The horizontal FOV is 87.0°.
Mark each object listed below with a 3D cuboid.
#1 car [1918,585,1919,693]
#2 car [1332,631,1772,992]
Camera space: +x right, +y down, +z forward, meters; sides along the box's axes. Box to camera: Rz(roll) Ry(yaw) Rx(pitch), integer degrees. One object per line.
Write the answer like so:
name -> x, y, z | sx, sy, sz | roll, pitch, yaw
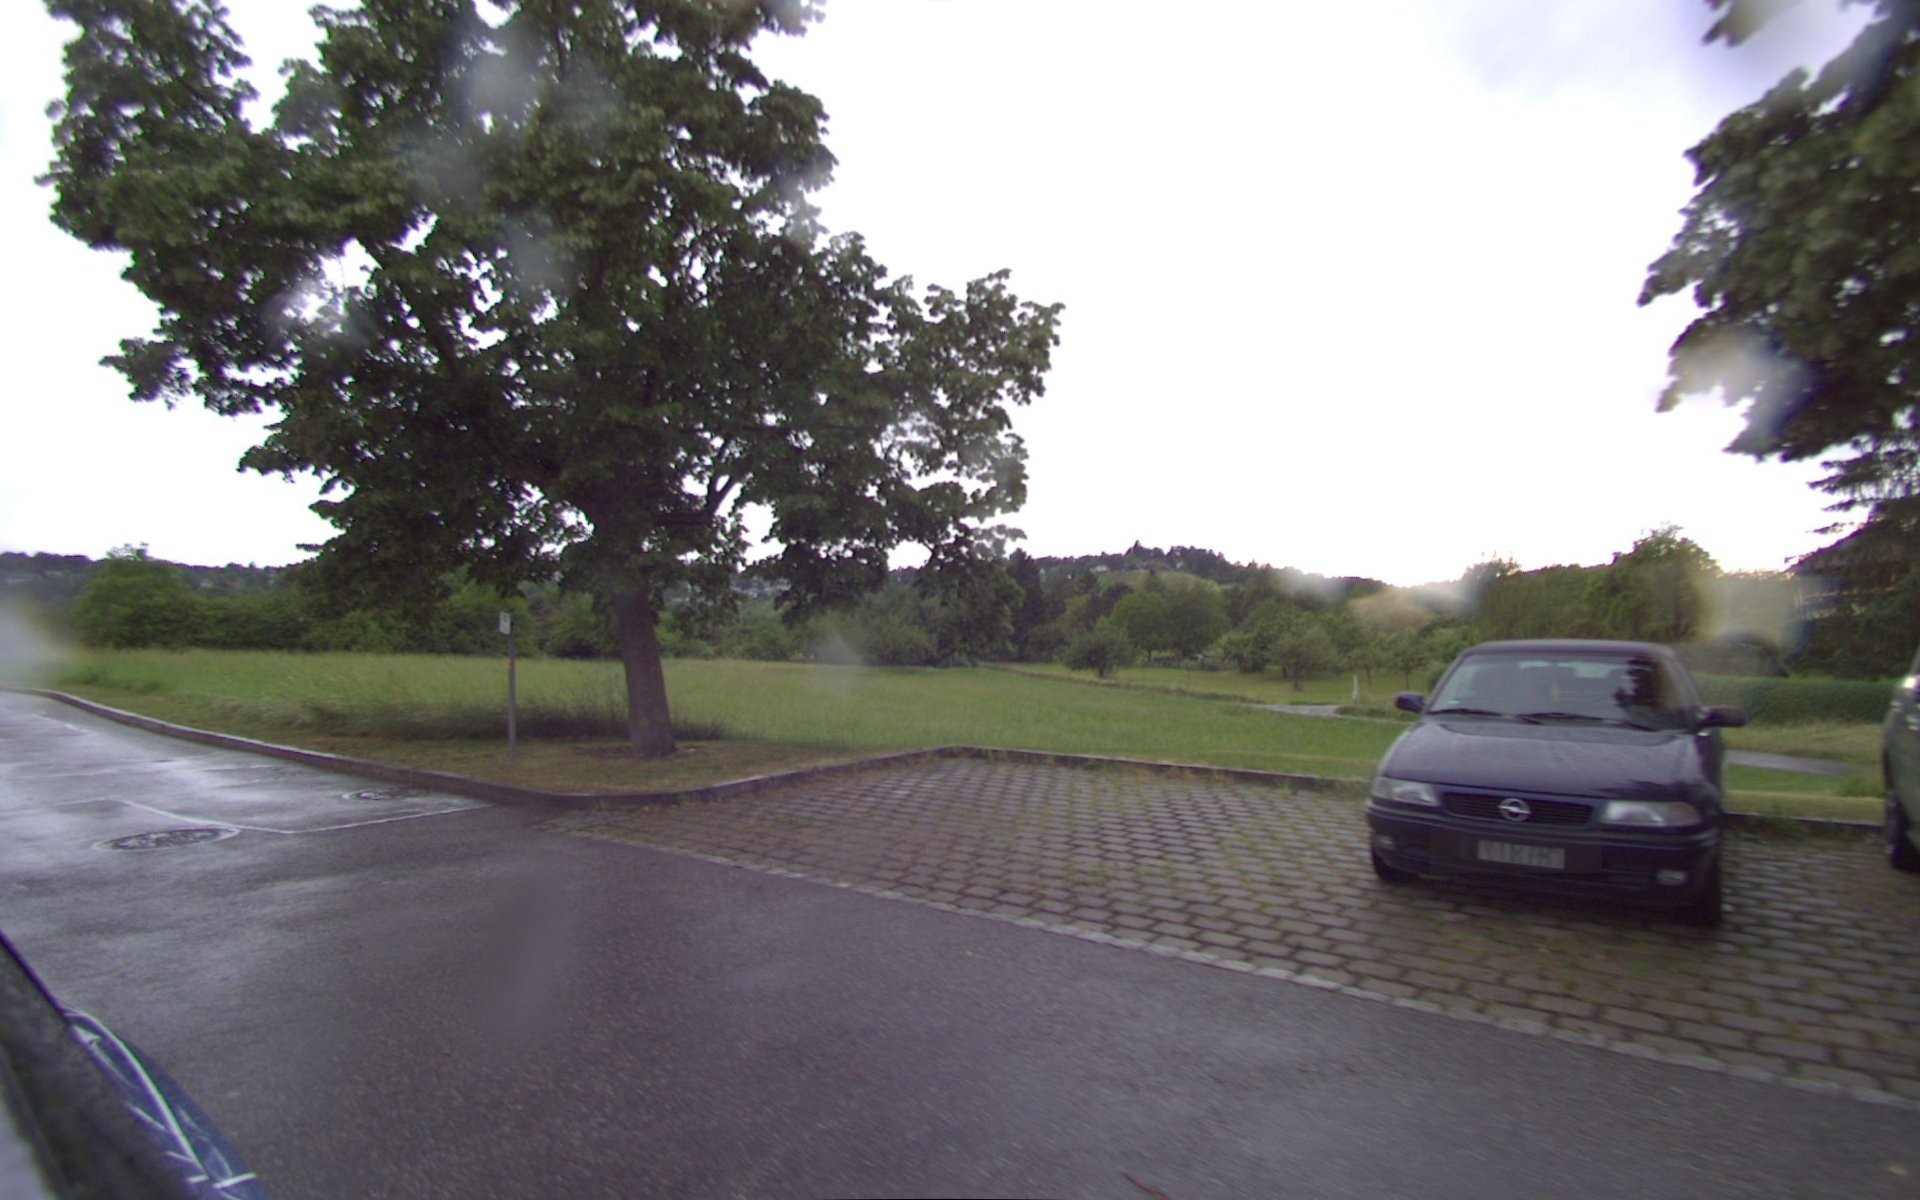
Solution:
car -> 5.542, 0.692, 4.140 | 2.043, 1.735, 4.323 | -1, -2, 40
car -> 3.851, 0.940, 6.415 | 1.770, 1.442, 4.175 | -1, -1, 36
